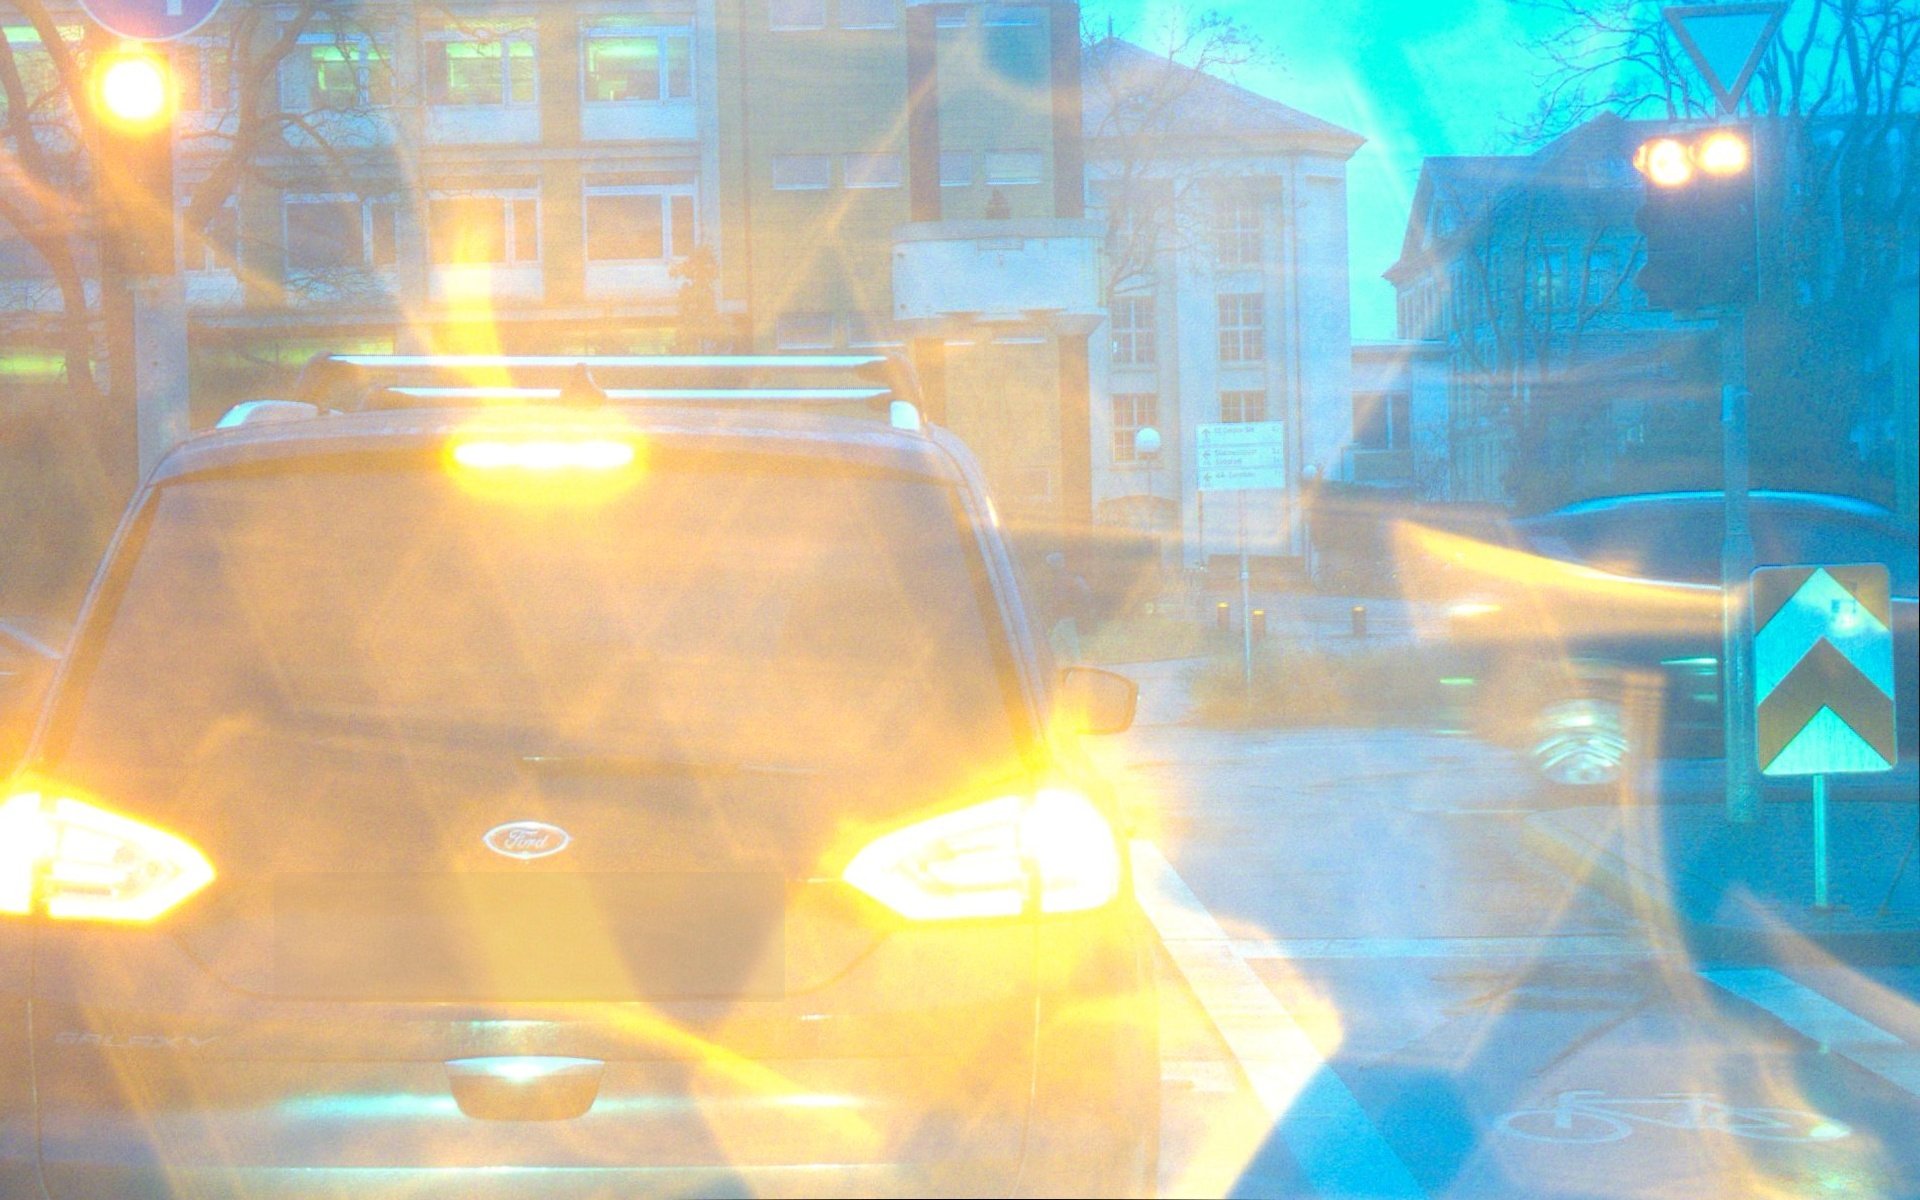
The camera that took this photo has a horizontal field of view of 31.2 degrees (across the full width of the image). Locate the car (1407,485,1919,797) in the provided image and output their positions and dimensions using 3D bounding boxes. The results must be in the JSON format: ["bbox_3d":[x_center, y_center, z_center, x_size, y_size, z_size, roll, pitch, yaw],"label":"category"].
[{"bbox_3d":[4.642,0.229,19.492,4.067,1.678,1.759,0,-1,11],"label":"car"}]

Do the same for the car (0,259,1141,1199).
[{"bbox_3d":[-0.609,0.411,6.579,1.647,1.812,4.000,0,1,-1],"label":"car"}]

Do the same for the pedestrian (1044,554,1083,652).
[{"bbox_3d":[1.343,0.037,44.687,0.432,1.266,0.441,0,-1,11],"label":"pedestrian"}]

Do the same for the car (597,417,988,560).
[{"bbox_3d":[-2.441,-1.623,50.937,5.548,2.017,1.999,0,-1,6],"label":"car"}]

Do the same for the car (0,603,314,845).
[{"bbox_3d":[-6.997,0.875,25.203,4.072,1.678,1.759,0,-1,13],"label":"car"}]

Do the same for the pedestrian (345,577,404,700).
[{"bbox_3d":[-7.962,0.521,46.778,0.646,1.660,0.562,0,-1,7],"label":"pedestrian"}]
